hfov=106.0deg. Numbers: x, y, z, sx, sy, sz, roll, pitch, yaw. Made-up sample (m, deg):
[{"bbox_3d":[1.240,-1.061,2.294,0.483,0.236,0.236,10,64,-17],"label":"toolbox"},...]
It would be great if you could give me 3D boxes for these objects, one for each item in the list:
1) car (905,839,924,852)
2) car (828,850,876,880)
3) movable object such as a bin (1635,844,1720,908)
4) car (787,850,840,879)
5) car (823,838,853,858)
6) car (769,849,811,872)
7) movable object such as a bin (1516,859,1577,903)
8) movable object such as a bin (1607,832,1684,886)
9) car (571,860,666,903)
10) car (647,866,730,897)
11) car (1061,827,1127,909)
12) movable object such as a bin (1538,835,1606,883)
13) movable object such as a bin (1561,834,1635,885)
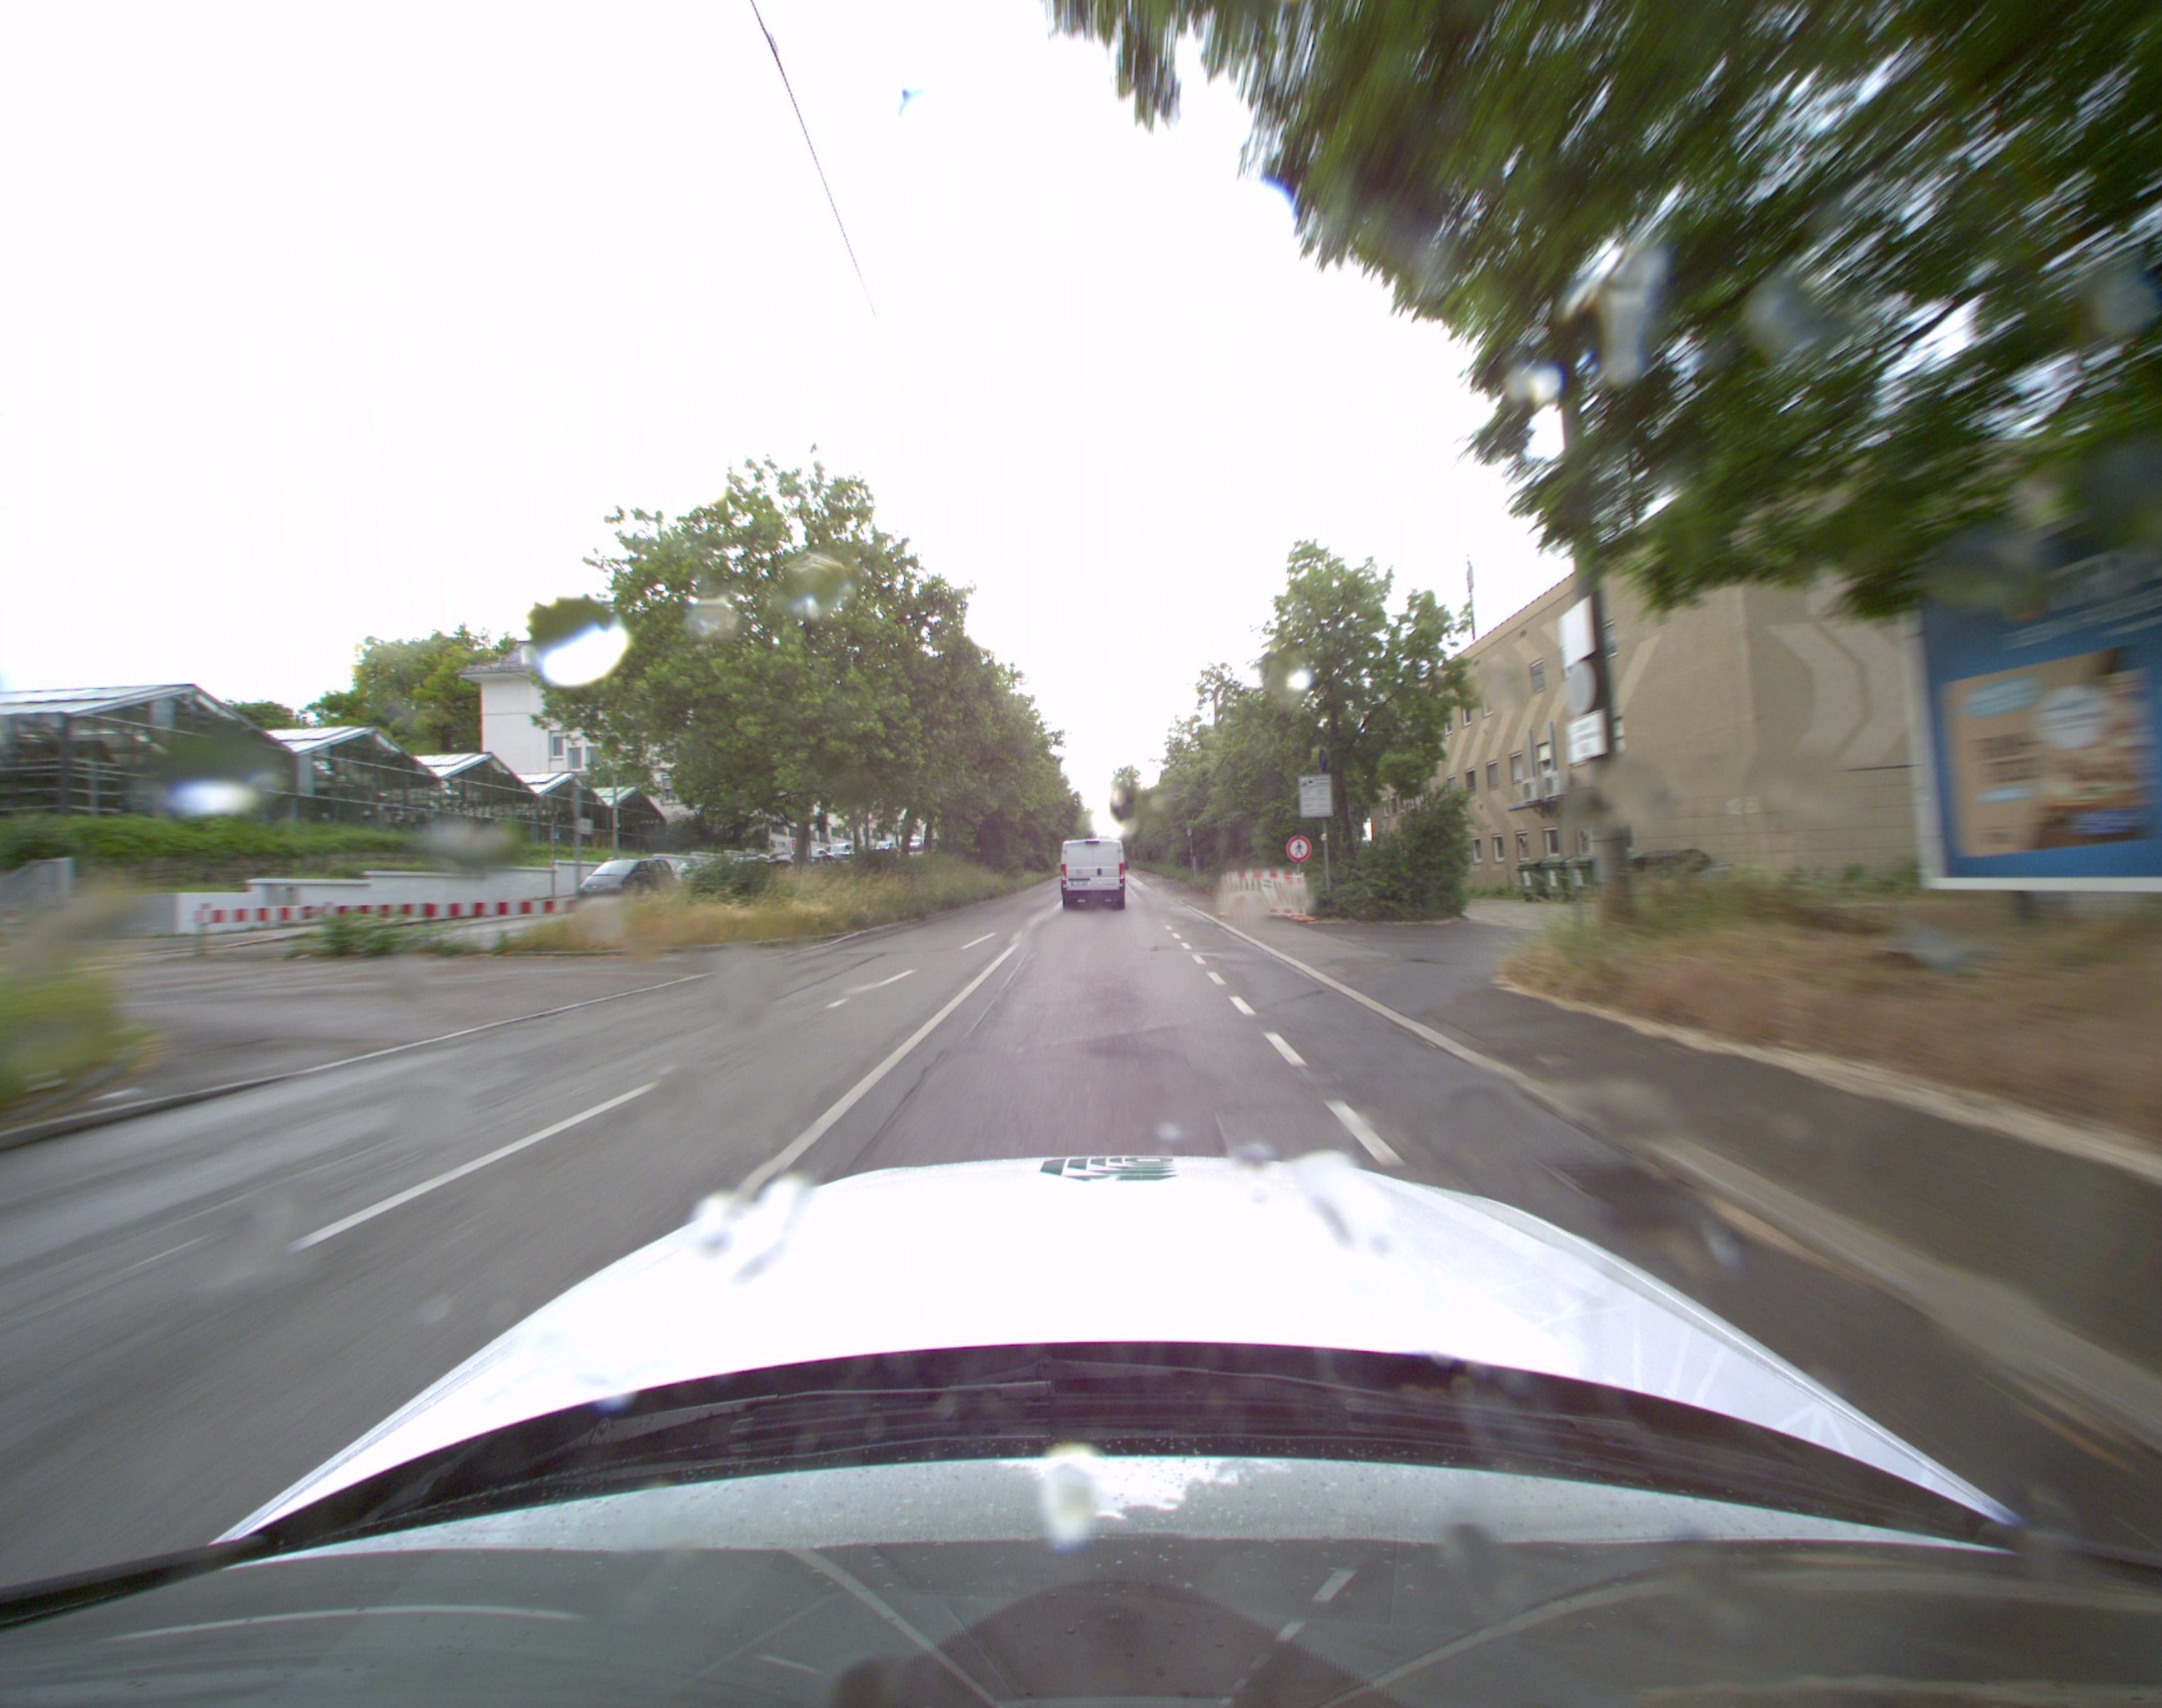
[{"bbox_3d":[-18.599,-0.929,90.972,1.595,1.250,2.908,-3,-2,-2],"label":"car"},{"bbox_3d":[-11.498,0.576,40.999,1.430,1.361,3.175,-3,-2,1],"label":"car"},{"bbox_3d":[15.725,0.560,21.511,1.208,1.586,1.333,-3,-1,3],"label":"movable object such as a bin"},{"bbox_3d":[-11.532,0.488,35.274,1.346,1.096,2.751,-3,-2,-1],"label":"car"},{"bbox_3d":[-18.394,-0.412,61.655,1.379,1.298,3.013,-3,-2,-2],"label":"car"},{"bbox_3d":[-17.854,0.420,50.024,1.355,1.310,3.087,-3,-2,2],"label":"car"},{"bbox_3d":[15.750,0.894,27.595,1.266,1.416,1.358,-3,-1,3],"label":"movable object such as a bin"},{"bbox_3d":[15.901,0.136,22.991,1.208,1.416,1.333,-3,-1,3],"label":"movable object such as a bin"},{"bbox_3d":[-17.837,1.078,31.578,1.644,1.487,3.515,-3,-2,-1],"label":"car"},{"bbox_3d":[-18.065,1.278,37.688,1.810,1.291,4.119,-3,-2,-1],"label":"car"},{"bbox_3d":[0.484,0.423,27.806,2.042,2.516,4.946,0,0,2],"label":"car"},{"bbox_3d":[15.606,0.155,25.946,1.299,1.416,1.432,-3,-1,3],"label":"movable object such as a bin"},{"bbox_3d":[15.458,0.154,24.403,1.299,1.416,1.420,-3,-1,3],"label":"movable object such as a bin"}]
